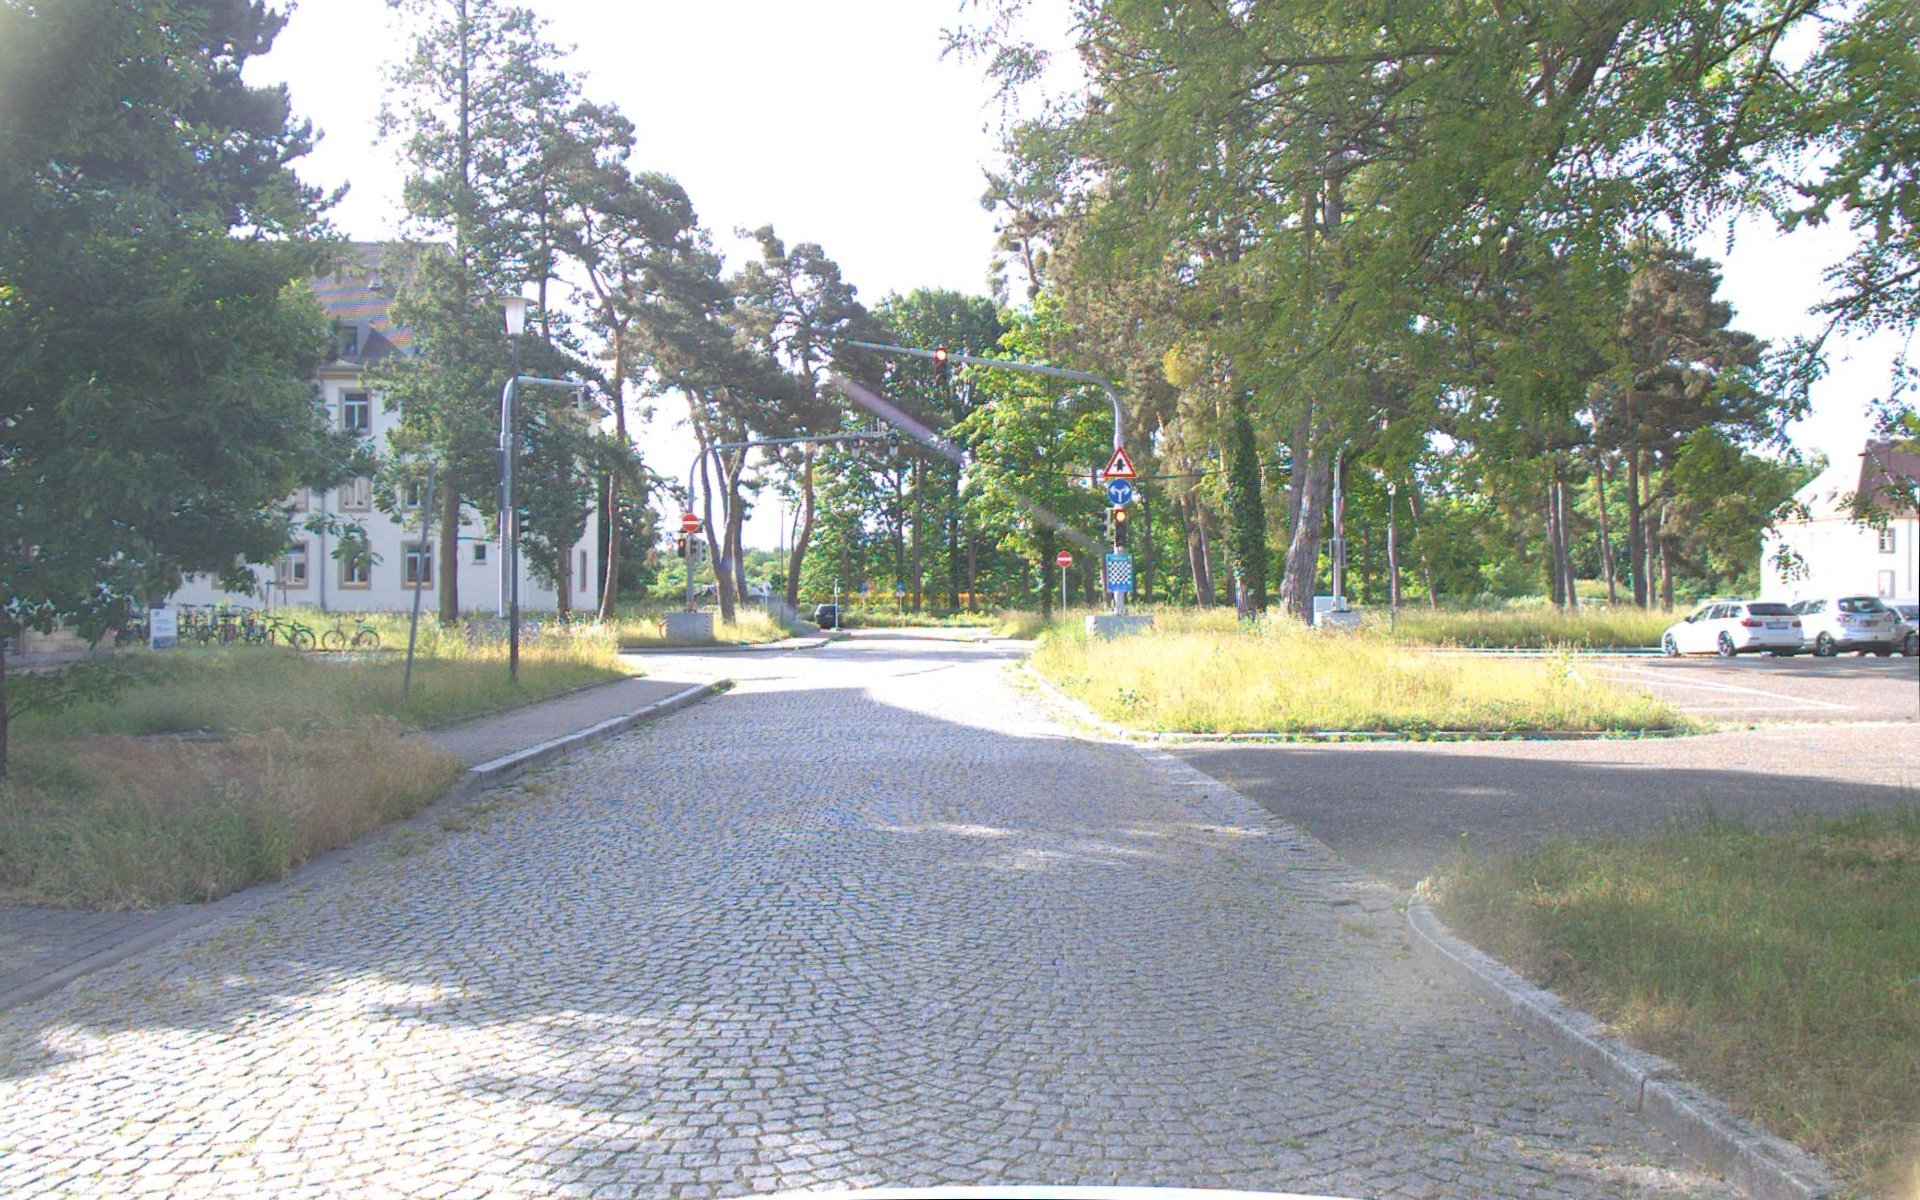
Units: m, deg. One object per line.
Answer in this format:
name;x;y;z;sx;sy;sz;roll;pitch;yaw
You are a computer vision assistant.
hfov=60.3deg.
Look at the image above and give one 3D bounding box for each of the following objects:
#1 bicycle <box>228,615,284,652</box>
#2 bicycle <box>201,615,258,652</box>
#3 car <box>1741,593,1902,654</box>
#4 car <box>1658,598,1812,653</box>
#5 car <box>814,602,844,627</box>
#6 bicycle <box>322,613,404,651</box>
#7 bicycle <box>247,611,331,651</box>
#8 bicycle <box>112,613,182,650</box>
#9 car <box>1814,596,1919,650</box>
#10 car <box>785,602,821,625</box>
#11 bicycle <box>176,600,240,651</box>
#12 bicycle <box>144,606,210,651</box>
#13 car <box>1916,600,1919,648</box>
bicycle;-20.873;0.991;49.099;0.809;1.065;2.123;0;0;-2
bicycle;-21.639;0.974;49.031;0.809;1.065;2.123;0;0;-2
car;22.480;0.584;43.330;1.697;1.502;4.327;0;0;-5
car;20.017;0.621;42.943;1.697;1.335;4.327;0;0;-5
car;-8.362;0.906;105.822;1.808;1.512;3.997;0;0;-4
bicycle;-17.332;0.927;48.056;2.076;1.065;0.828;0;0;-5
bicycle;-19.413;0.884;47.895;2.076;1.128;0.828;0;0;-5
bicycle;-24.058;0.923;48.993;0.882;1.065;2.553;0;0;-2
car;24.720;0.569;43.792;1.697;1.335;4.327;-1;0;-5
car;-10.463;0.898;110.498;1.745;1.516;3.757;0;0;5
bicycle;-22.423;0.747;49.348;0.809;1.462;2.553;0;0;-2
bicycle;-23.174;0.823;49.022;0.809;1.303;2.553;0;0;-2
car;27.714;0.667;44.081;1.697;1.335;4.327;-1;0;-5
